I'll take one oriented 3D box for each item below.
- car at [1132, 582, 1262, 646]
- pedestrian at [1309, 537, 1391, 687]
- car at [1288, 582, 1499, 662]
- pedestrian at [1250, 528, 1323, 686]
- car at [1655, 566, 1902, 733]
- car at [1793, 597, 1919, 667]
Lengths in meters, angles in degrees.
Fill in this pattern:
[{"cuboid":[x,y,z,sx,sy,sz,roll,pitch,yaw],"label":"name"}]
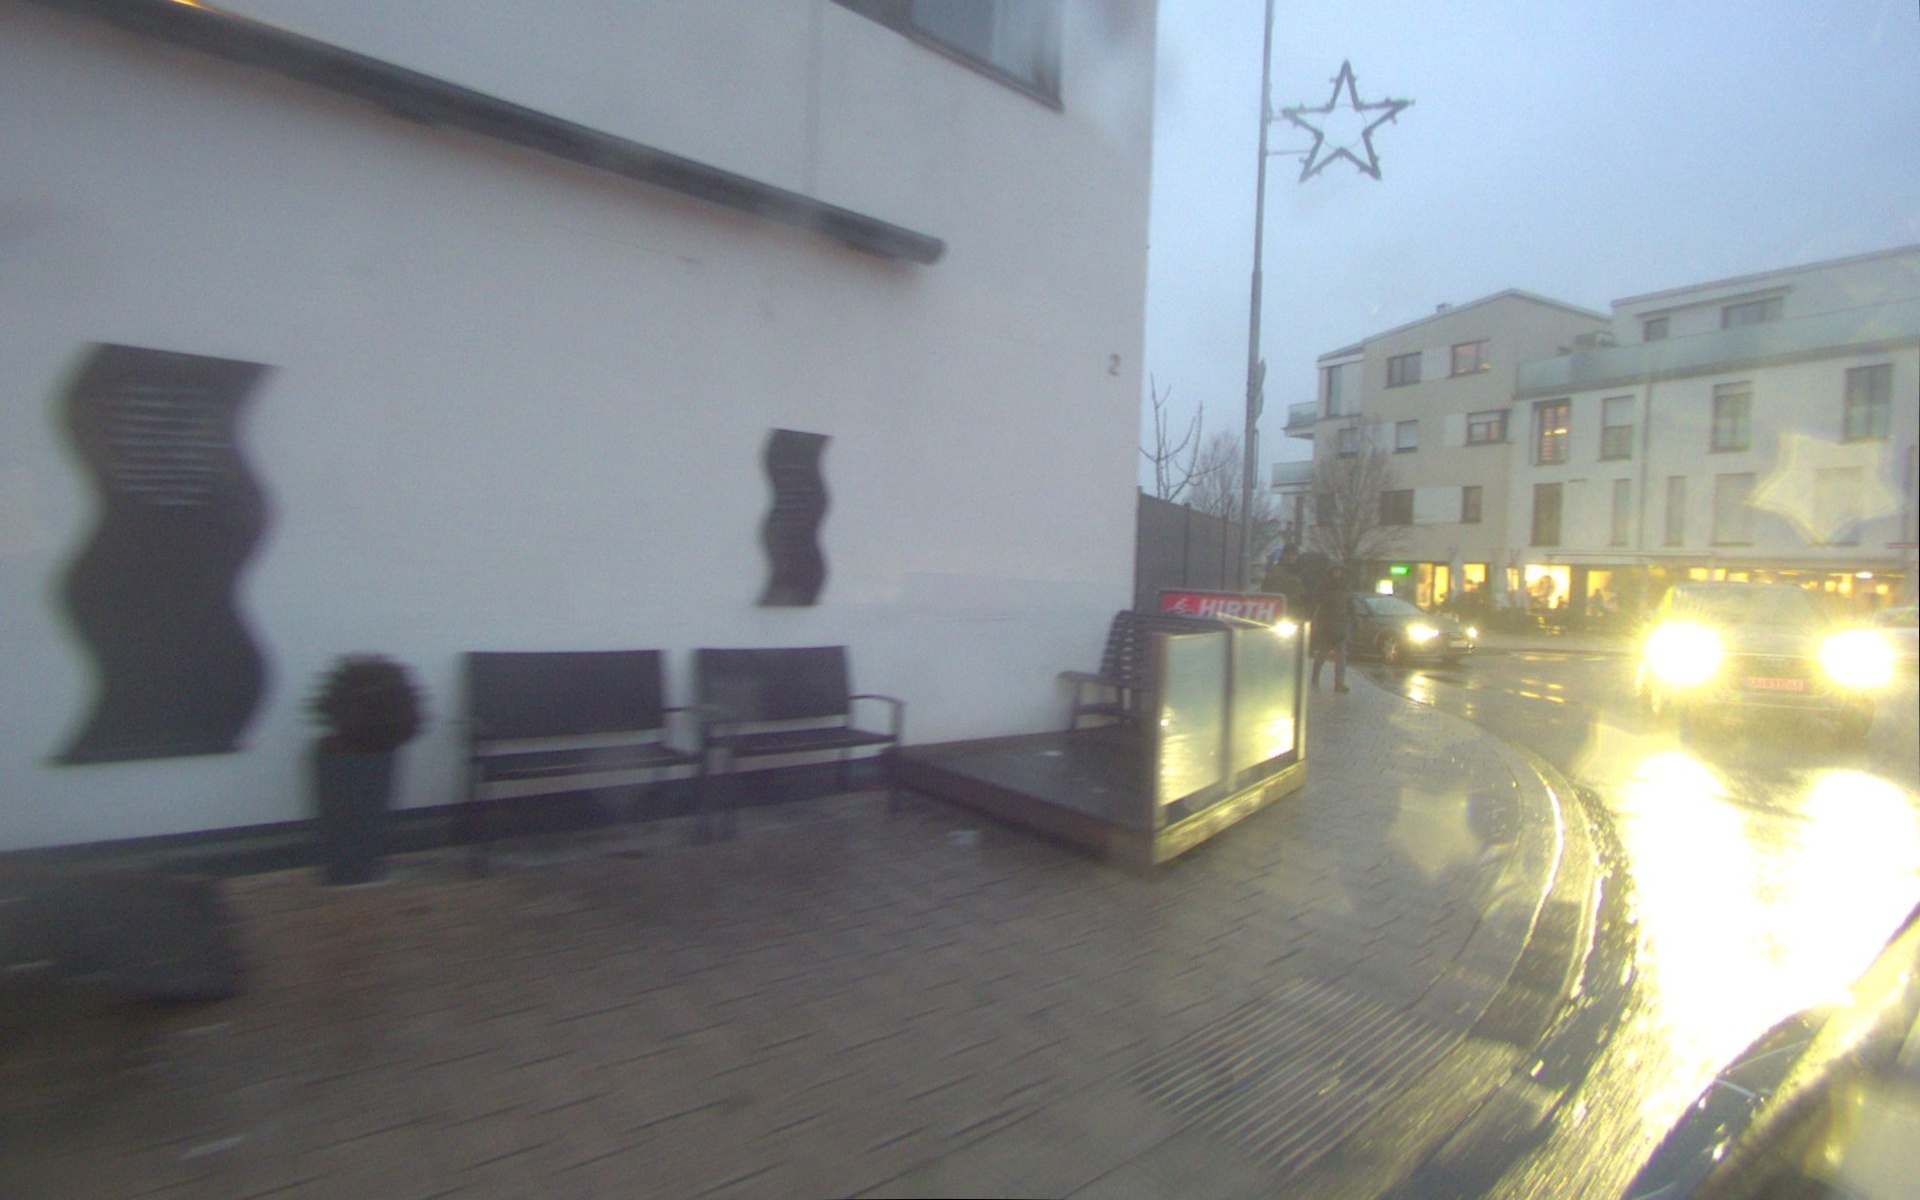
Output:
[{"cuboid":[5.966,0.299,25.935,1.720,1.473,3.672,-1,1,-15],"label":"car"},{"cuboid":[4.791,0.139,12.486,0.755,1.783,0.791,0,1,6],"label":"pedestrian"},{"cuboid":[8.923,0.382,21.222,1.727,1.498,4.028,0,1,-21],"label":"car"},{"cuboid":[4.029,0.073,12.547,0.697,1.889,0.791,0,1,6],"label":"pedestrian"},{"cuboid":[9.558,0.459,12.085,1.948,1.605,4.056,2,1,36],"label":"car"},{"cuboid":[21.084,0.689,22.191,4.250,1.462,1.541,1,2,37],"label":"car"}]
